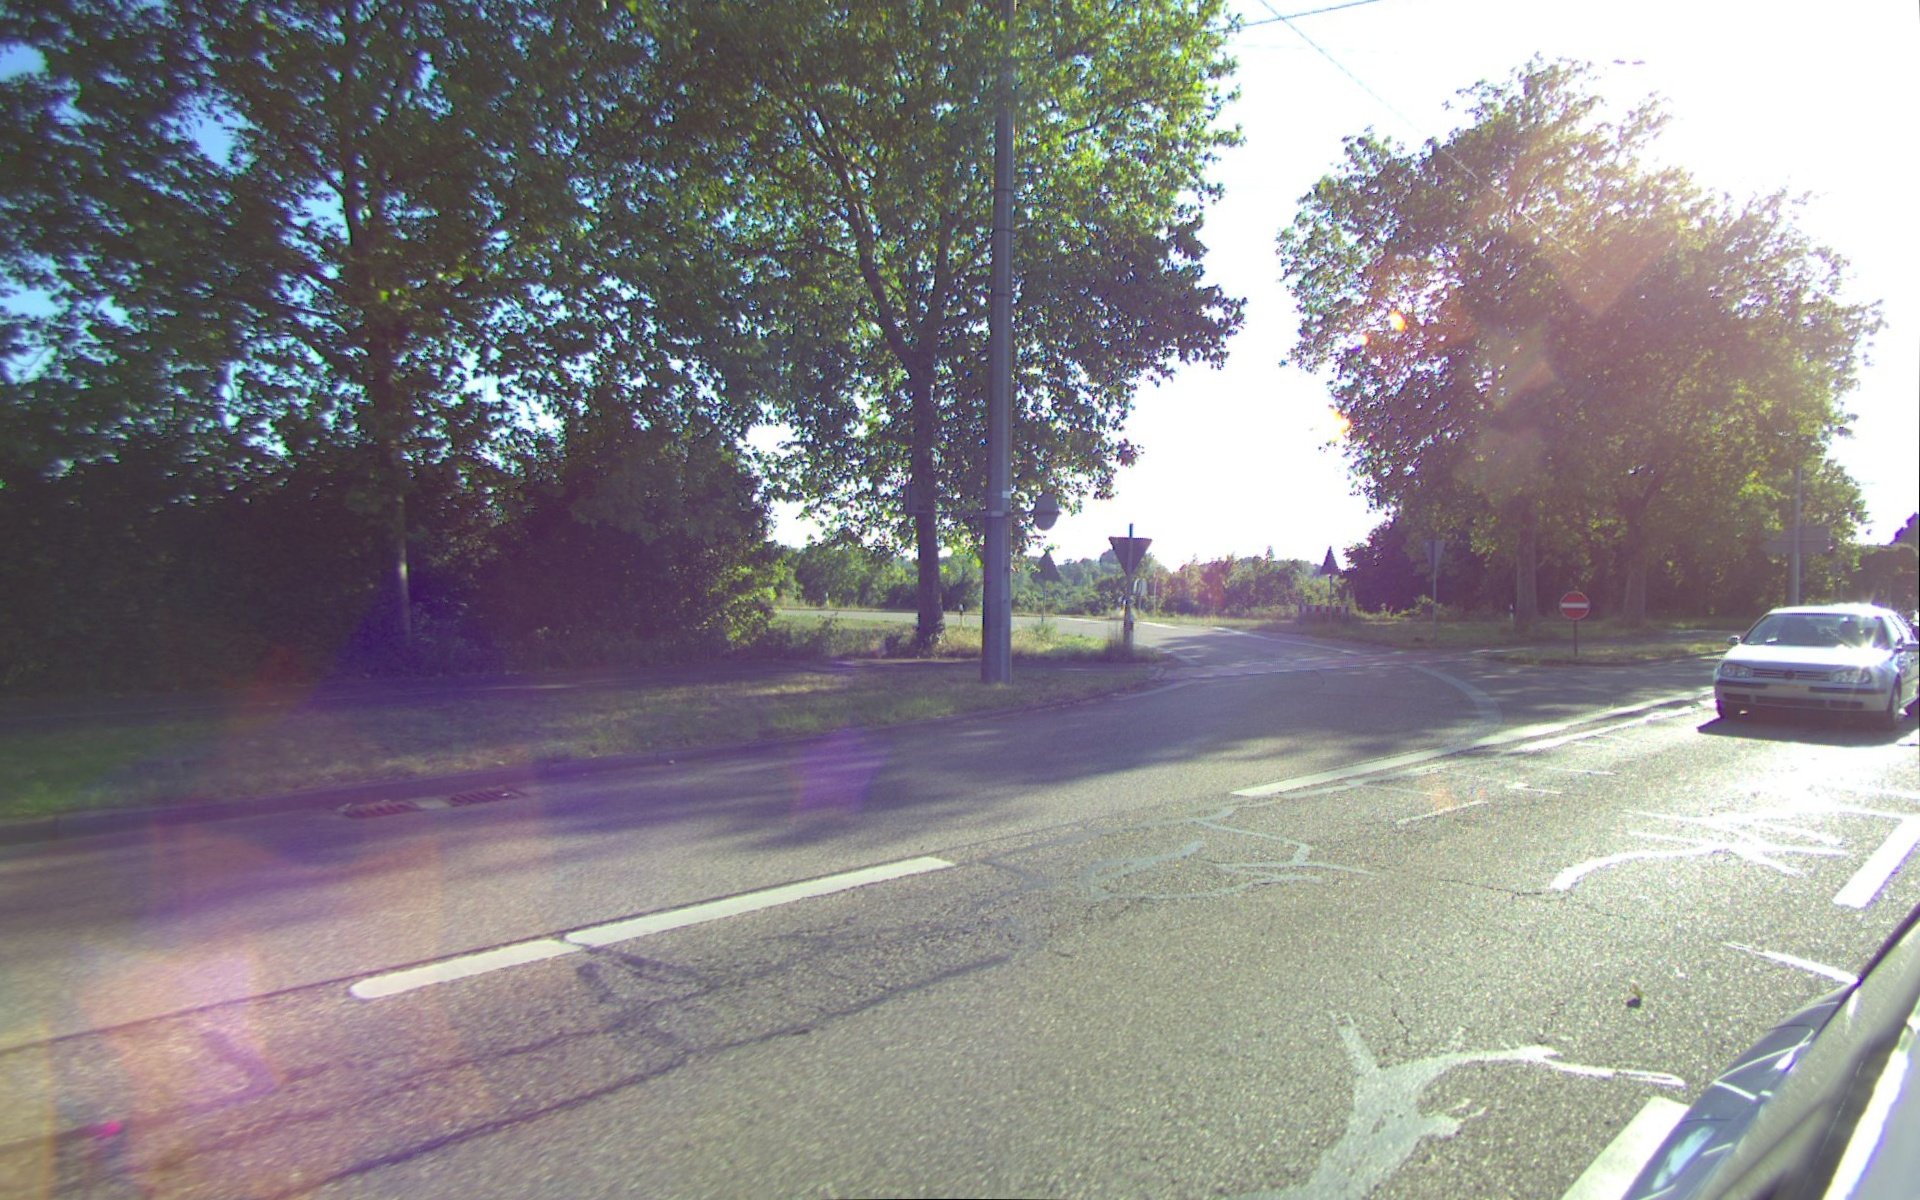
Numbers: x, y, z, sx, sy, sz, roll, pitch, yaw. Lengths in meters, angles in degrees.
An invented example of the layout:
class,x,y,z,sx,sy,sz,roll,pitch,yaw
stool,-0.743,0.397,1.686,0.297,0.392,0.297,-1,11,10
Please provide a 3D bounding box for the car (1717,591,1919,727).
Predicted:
class,x,y,z,sx,sy,sz,roll,pitch,yaw
car,11.331,0.634,13.032,3.930,1.463,1.694,-1,1,-40

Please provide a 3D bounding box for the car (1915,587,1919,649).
class,x,y,z,sx,sy,sz,roll,pitch,yaw
car,27.670,0.475,27.578,4.338,1.620,1.881,-1,1,-40

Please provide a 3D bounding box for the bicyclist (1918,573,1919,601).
class,x,y,z,sx,sy,sz,roll,pitch,yaw
bicyclist,70.364,-0.942,73.880,0.716,2.043,0.528,0,-1,-40

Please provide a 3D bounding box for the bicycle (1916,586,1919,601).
class,x,y,z,sx,sy,sz,roll,pitch,yaw
bicycle,70.165,-0.457,73.713,1.936,1.074,0.528,1,-1,-40
